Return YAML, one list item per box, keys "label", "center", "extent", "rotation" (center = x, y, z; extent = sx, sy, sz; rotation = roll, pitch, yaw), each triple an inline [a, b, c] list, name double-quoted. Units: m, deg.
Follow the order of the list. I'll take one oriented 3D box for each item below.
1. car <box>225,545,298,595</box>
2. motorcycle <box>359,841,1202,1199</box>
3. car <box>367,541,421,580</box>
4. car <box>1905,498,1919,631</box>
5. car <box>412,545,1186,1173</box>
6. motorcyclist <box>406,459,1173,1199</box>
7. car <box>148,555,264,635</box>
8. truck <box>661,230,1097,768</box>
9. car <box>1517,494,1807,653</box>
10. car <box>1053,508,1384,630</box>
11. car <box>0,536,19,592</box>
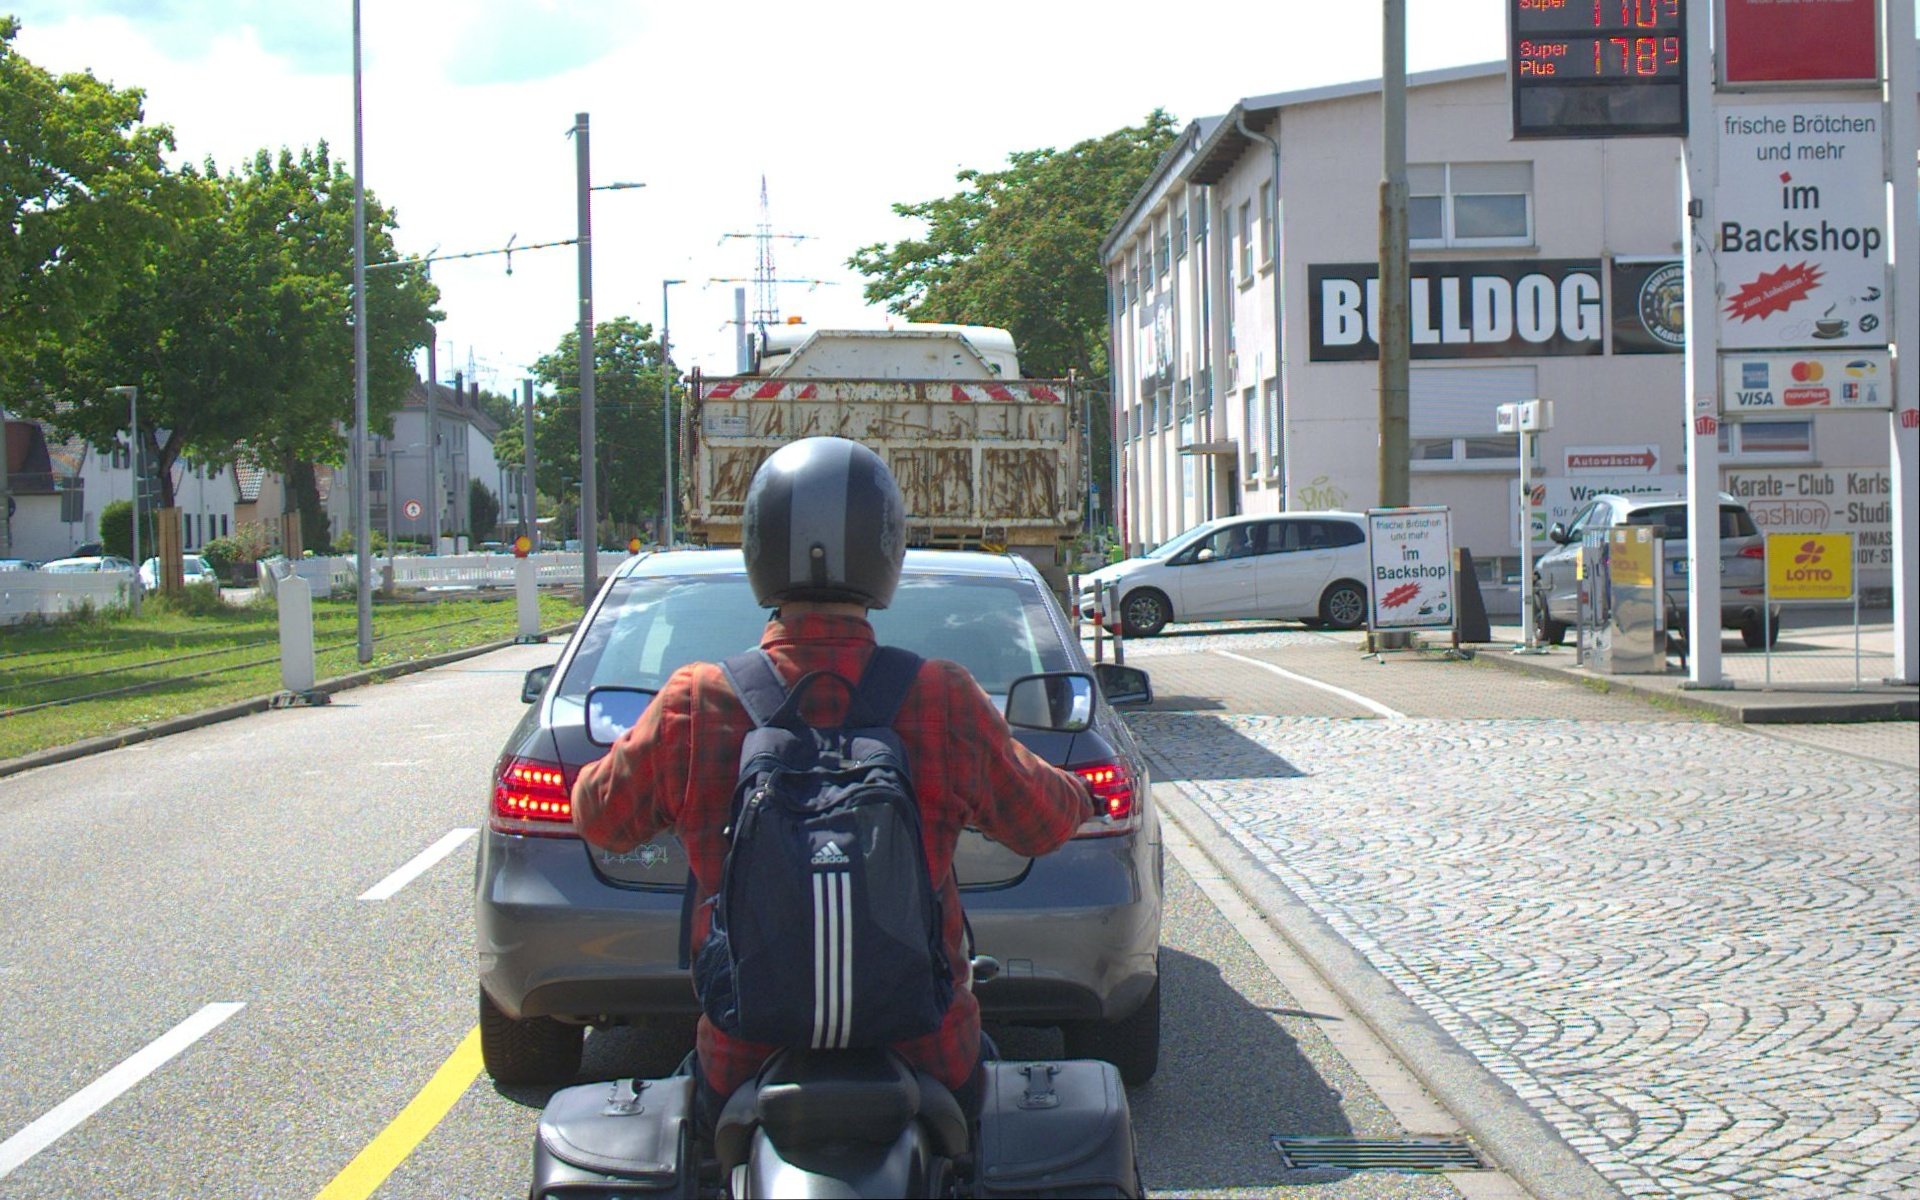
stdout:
- label: "car"
  center: [-25.425, -1.111, 125.244]
  extent: [1.776, 1.717, 4.128]
  rotation: [-1, 1, 0]
- label: "motorcycle"
  center: [-0.216, 0.955, 5.342]
  extent: [0.979, 0.894, 2.653]
  rotation: [-1, 1, -1]
- label: "car"
  center: [-26.444, -1.867, 160.663]
  extent: [1.776, 1.717, 4.250]
  rotation: [-1, 1, 0]
- label: "car"
  center: [11.729, -0.386, 37.094]
  extent: [1.806, 1.498, 3.834]
  rotation: [-1, 1, -3]
- label: "car"
  center: [-0.407, 0.588, 10.195]
  extent: [1.823, 1.447, 4.000]
  rotation: [1, 1, -1]
- label: "motorcyclist"
  center: [-0.220, 0.613, 5.030]
  extent: [0.979, 1.597, 1.088]
  rotation: [-1, 1, -1]
- label: "car"
  center: [-17.503, -0.138, 79.963]
  extent: [1.776, 1.717, 4.128]
  rotation: [-1, 1, 0]
- label: "truck"
  center: [-0.547, -0.717, 25.367]
  extent: [2.638, 3.285, 8.057]
  rotation: [-1, 1, -1]
- label: "car"
  center: [7.374, -0.310, 36.524]
  extent: [1.667, 1.557, 4.245]
  rotation: [-1, 1, -8]
- label: "car"
  center: [3.510, -0.442, 47.040]
  extent: [4.229, 1.537, 1.673]
  rotation: [-1, 1, -8]
- label: "car"
  center: [-30.051, -1.070, 104.408]
  extent: [1.776, 1.717, 4.128]
  rotation: [-1, 1, 0]
